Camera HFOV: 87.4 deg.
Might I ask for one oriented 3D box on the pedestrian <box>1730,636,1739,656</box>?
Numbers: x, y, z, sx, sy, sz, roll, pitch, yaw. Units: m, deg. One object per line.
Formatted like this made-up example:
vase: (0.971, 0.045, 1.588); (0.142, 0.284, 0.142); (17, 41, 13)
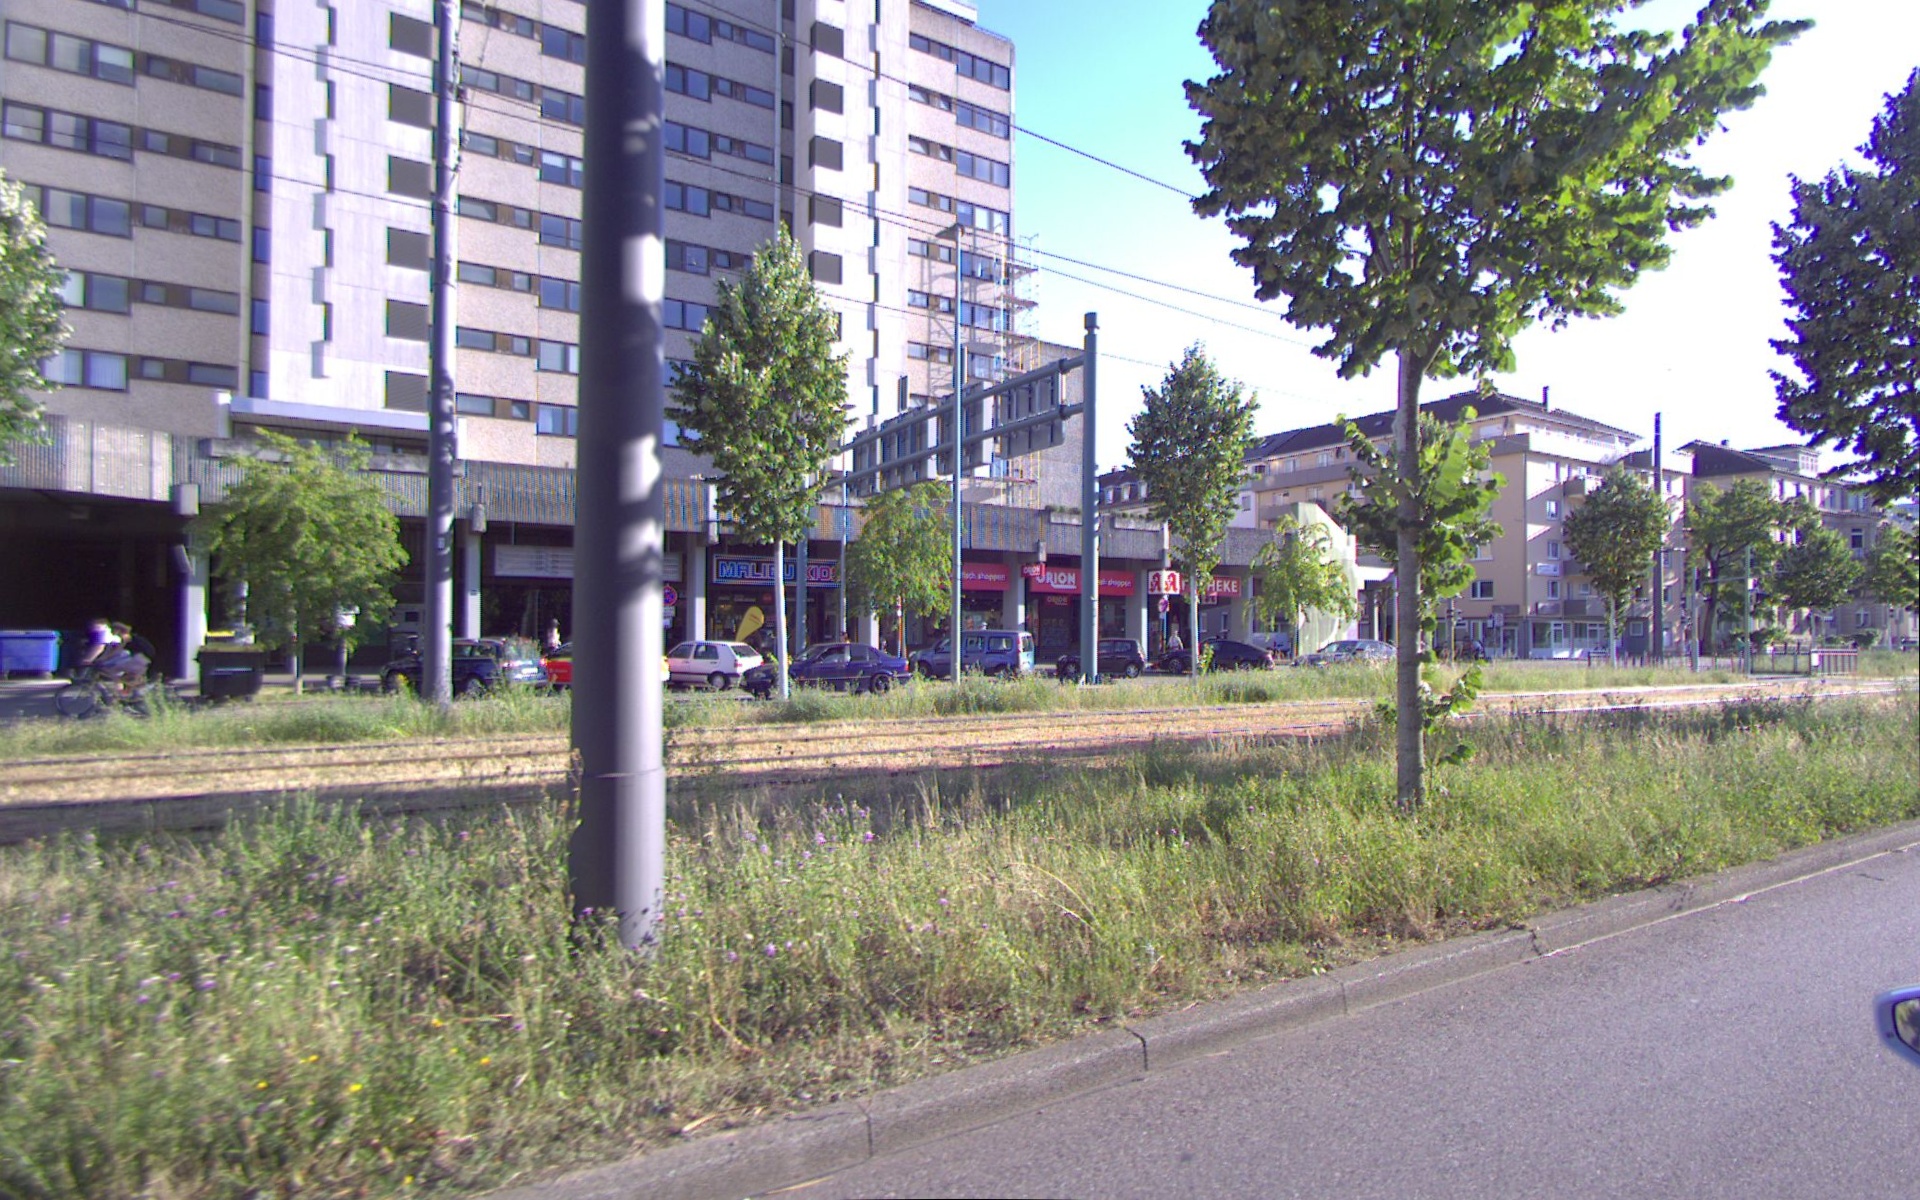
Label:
pedestrian: (59.340, 3.525, 76.964); (0.513, 1.576, 0.446); (-1, -2, 44)

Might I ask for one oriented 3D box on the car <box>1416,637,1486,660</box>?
car: (33.641, 3.283, 68.936); (1.827, 1.516, 3.966); (1, -2, -32)

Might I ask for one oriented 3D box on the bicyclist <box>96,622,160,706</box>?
bicyclist: (-17.013, 1.304, 20.552); (0.909, 1.678, 0.534); (1, -2, -33)

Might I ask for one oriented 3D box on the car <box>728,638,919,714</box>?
car: (-3.447, 1.893, 25.613); (4.438, 1.725, 1.860); (2, 0, -32)

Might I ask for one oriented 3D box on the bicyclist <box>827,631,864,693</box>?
bicyclist: (-3.347, 1.796, 29.339); (0.909, 1.768, 0.554); (1, -2, -33)

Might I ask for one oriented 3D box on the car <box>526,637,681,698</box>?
car: (-10.030, 1.873, 28.368); (3.725, 1.464, 1.791); (2, 0, 14)

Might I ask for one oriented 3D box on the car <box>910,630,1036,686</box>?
car: (0.469, 2.013, 35.332); (4.113, 1.713, 1.621); (2, 0, 18)

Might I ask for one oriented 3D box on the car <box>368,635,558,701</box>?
car: (-13.108, 1.760, 26.540); (4.455, 1.464, 1.622); (2, 0, 14)

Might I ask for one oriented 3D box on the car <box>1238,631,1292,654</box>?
car: (25.225, 3.496, 83.227); (1.977, 1.766, 3.967); (1, -2, -31)

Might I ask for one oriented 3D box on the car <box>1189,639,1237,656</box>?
car: (22.284, 4.145, 88.680); (1.827, 1.452, 3.966); (1, -2, -32)

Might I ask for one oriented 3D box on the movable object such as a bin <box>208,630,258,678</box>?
movable object such as a bin: (-21.326, 1.574, 29.490); (1.078, 1.389, 1.112); (1, -2, -33)

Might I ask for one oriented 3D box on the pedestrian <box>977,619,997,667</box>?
pedestrian: (1.163, 1.854, 43.043); (0.647, 2.040, 0.544); (1, -2, -32)

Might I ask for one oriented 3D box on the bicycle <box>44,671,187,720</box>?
bicycle: (-16.423, 1.849, 19.596); (2.080, 0.874, 0.434); (2, -2, -34)

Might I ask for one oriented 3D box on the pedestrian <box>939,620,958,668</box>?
pedestrian: (-0.494, 1.905, 43.344); (0.647, 2.040, 0.544); (1, -2, -32)

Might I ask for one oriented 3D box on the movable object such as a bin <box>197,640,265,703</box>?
movable object such as a bin: (-16.911, 1.638, 23.341); (1.158, 1.389, 1.378); (1, -2, -32)

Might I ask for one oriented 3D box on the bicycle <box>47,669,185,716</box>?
bicycle: (-17.117, 1.869, 20.435); (2.080, 0.874, 0.434); (2, -2, -34)

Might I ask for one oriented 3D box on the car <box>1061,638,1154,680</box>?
car: (5.781, 2.280, 39.329); (3.396, 1.421, 1.622); (2, 0, 15)

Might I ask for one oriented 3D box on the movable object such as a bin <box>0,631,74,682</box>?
movable object such as a bin: (-25.121, 1.514, 27.387); (1.220, 1.351, 1.378); (1, -2, -32)

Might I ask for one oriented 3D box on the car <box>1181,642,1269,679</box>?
car: (10.885, 2.462, 41.264); (3.396, 1.291, 1.622); (2, 0, 15)

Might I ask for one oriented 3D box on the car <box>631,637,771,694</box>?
car: (-7.734, 1.915, 30.085); (3.716, 1.464, 1.622); (2, 0, 15)

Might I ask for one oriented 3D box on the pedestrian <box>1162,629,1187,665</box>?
pedestrian: (10.082, 2.221, 47.262); (0.873, 1.661, 0.770); (1, -2, -32)

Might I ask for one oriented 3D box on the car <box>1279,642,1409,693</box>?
car: (13.476, 2.332, 35.177); (4.587, 1.609, 1.860); (2, 0, -32)

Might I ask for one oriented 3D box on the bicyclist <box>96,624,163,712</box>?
bicyclist: (-16.291, 1.320, 19.725); (0.909, 1.678, 0.534); (1, -2, -33)

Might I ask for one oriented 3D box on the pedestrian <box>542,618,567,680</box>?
pedestrian: (-13.615, 1.641, 33.726); (0.647, 2.040, 0.544); (1, -2, -32)
